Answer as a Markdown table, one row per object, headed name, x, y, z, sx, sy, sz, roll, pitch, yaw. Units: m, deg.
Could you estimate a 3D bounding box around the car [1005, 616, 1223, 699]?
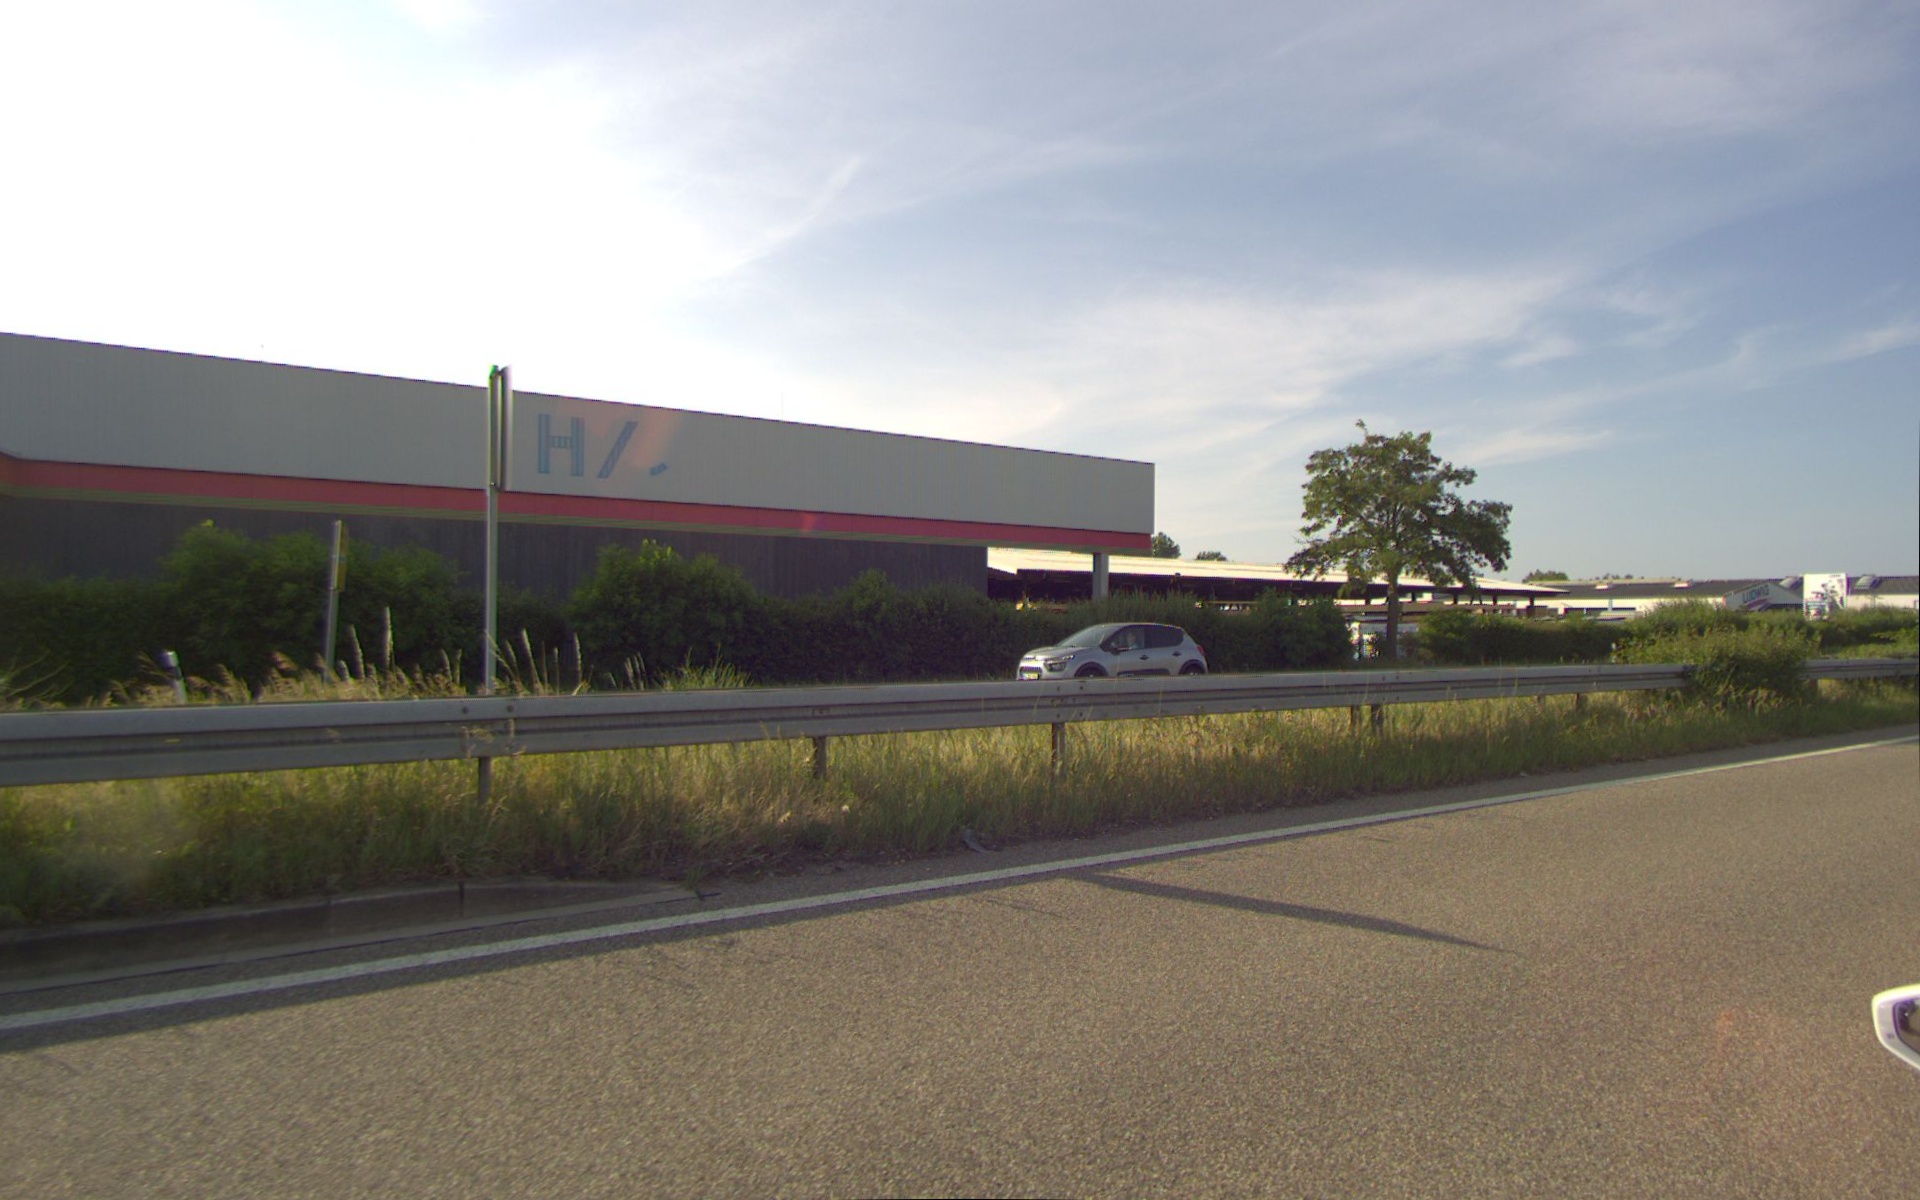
| name | x | y | z | sx | sy | sz | roll | pitch | yaw |
| --- | --- | --- | --- | --- | --- | --- | --- | --- | --- |
| car | 2.996 | 1.063 | 19.391 | 3.953 | 1.443 | 1.771 | 1 | -1 | -30 |
